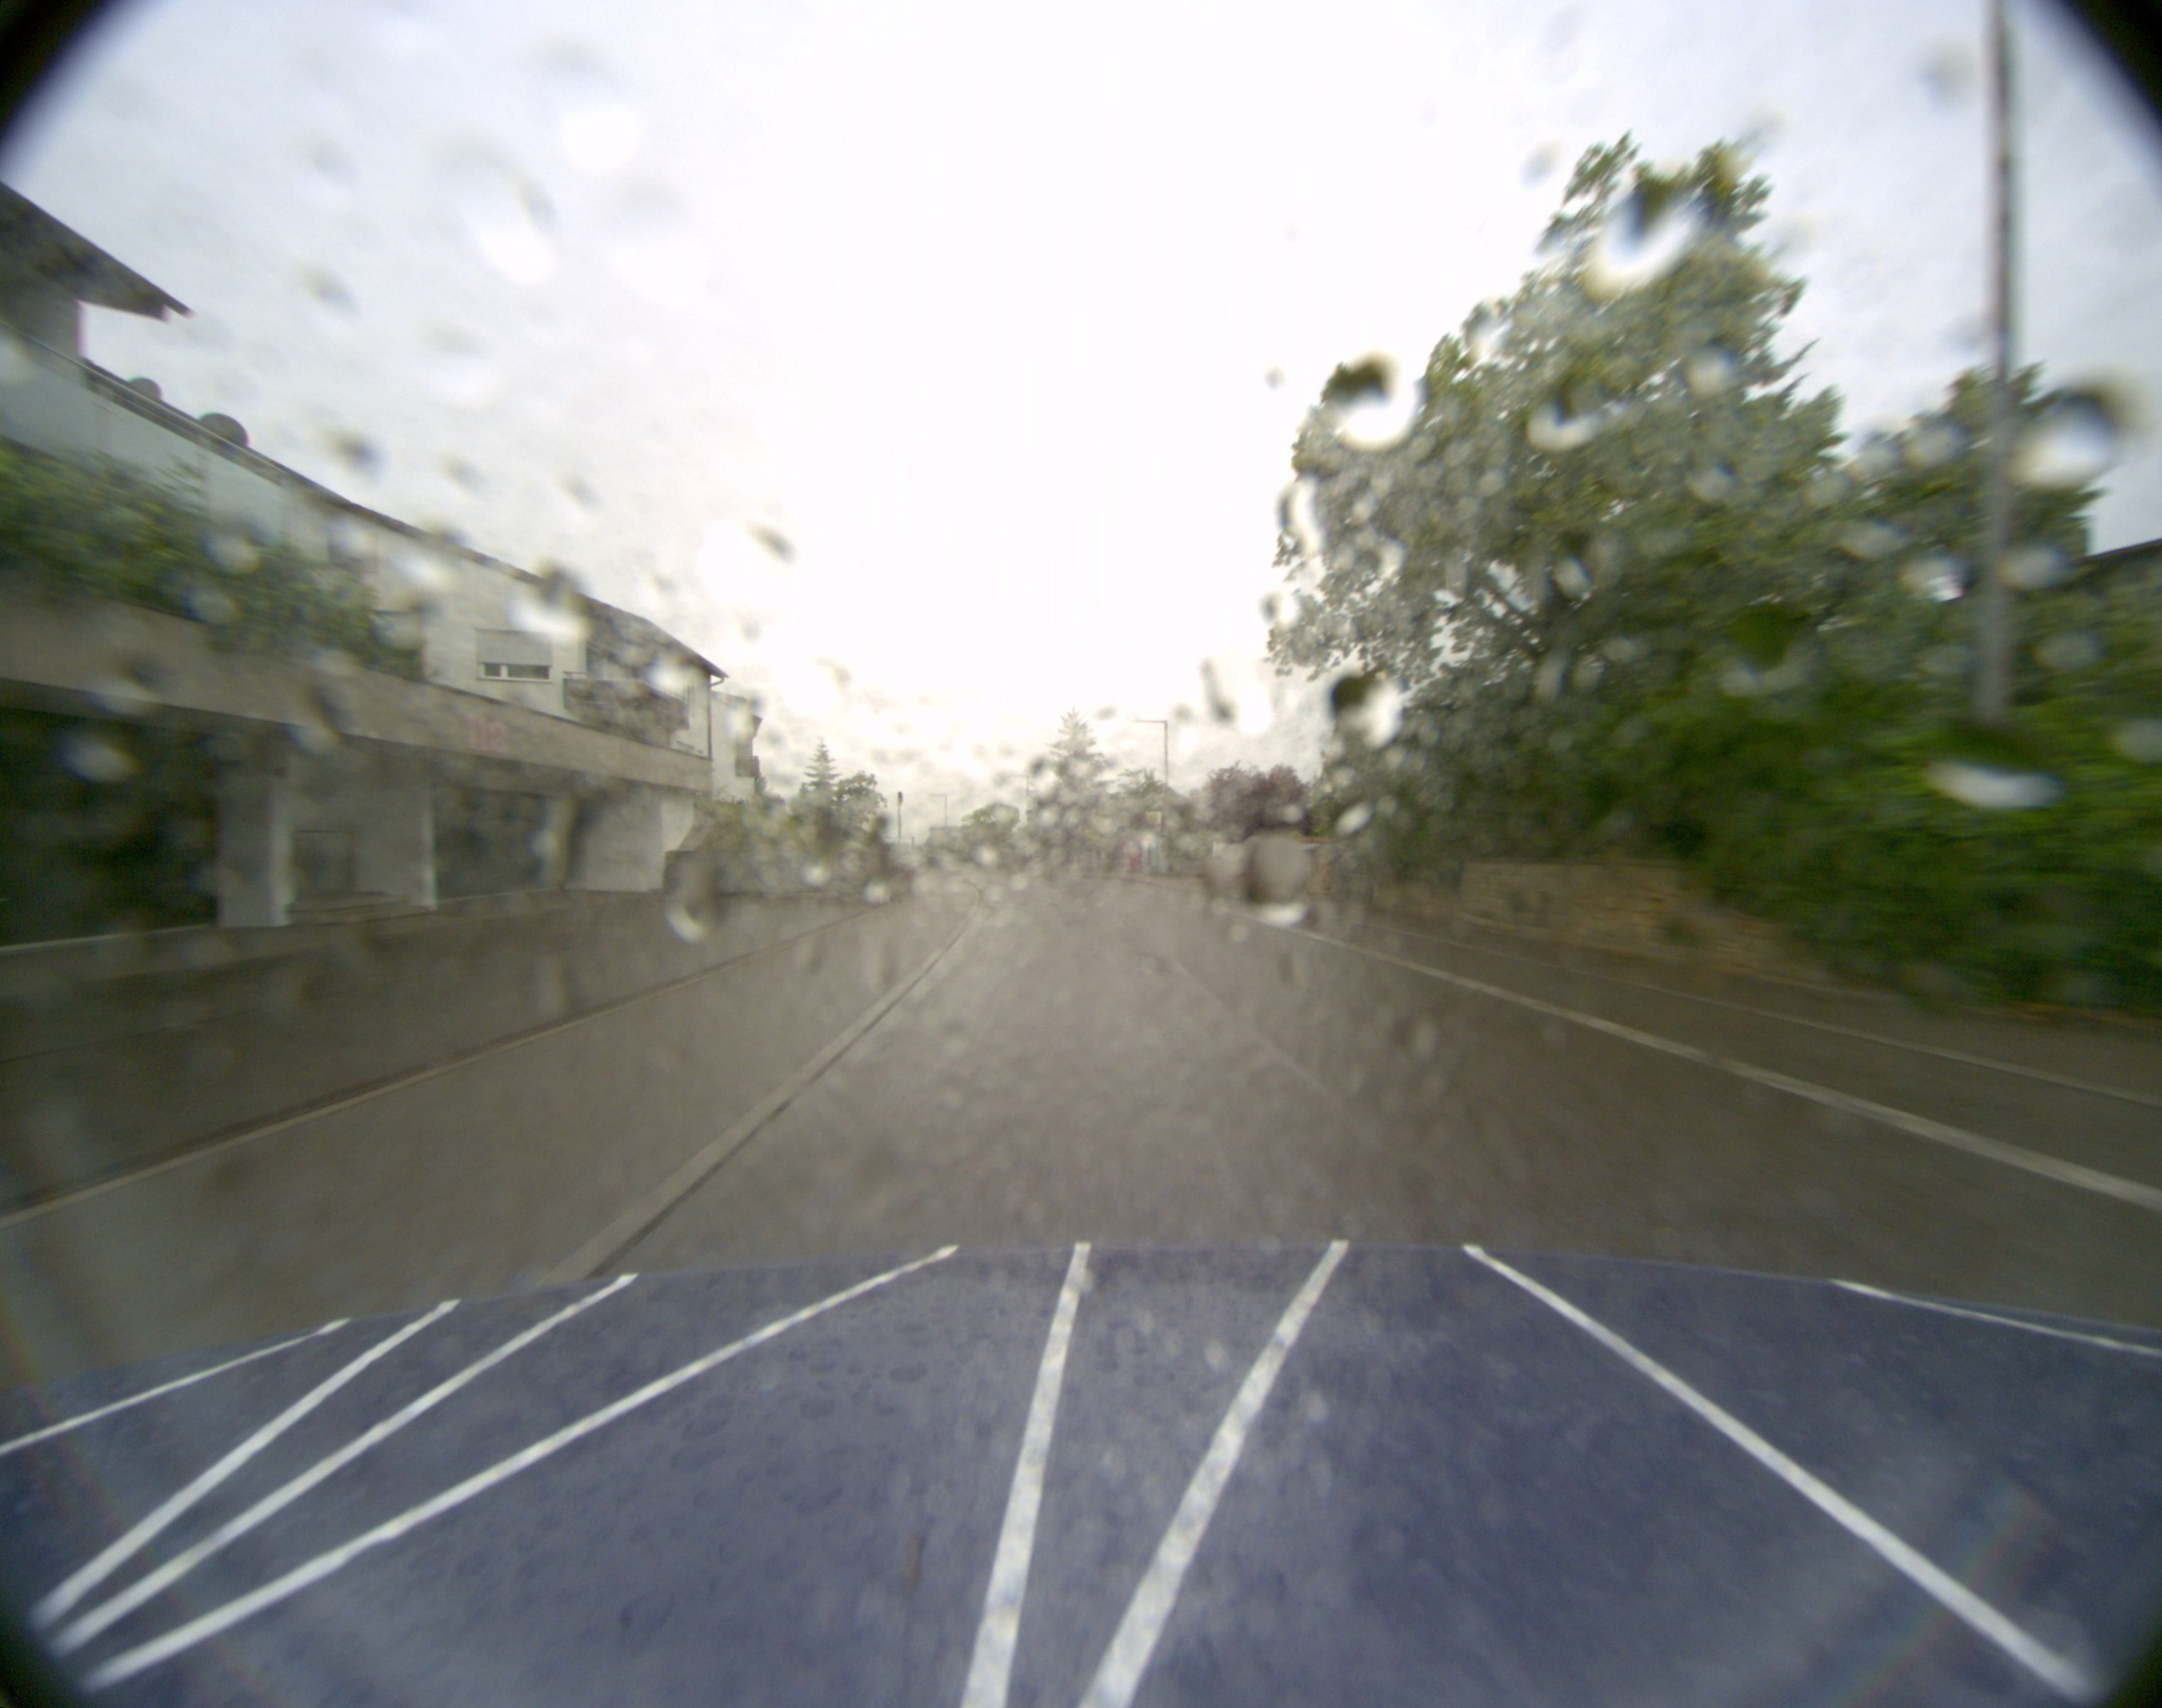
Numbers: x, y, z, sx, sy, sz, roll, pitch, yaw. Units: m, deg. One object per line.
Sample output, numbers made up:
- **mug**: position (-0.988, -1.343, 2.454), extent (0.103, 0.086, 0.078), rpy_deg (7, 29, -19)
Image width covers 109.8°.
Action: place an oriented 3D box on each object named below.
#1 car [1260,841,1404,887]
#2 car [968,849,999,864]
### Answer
- **car**: position (8.906, 0.343, 27.103), extent (4.556, 1.467, 1.837), rpy_deg (-1, 1, -11)
- **car**: position (-10.616, 0.275, 82.805), extent (3.038, 1.471, 1.454), rpy_deg (-1, 1, 1)
